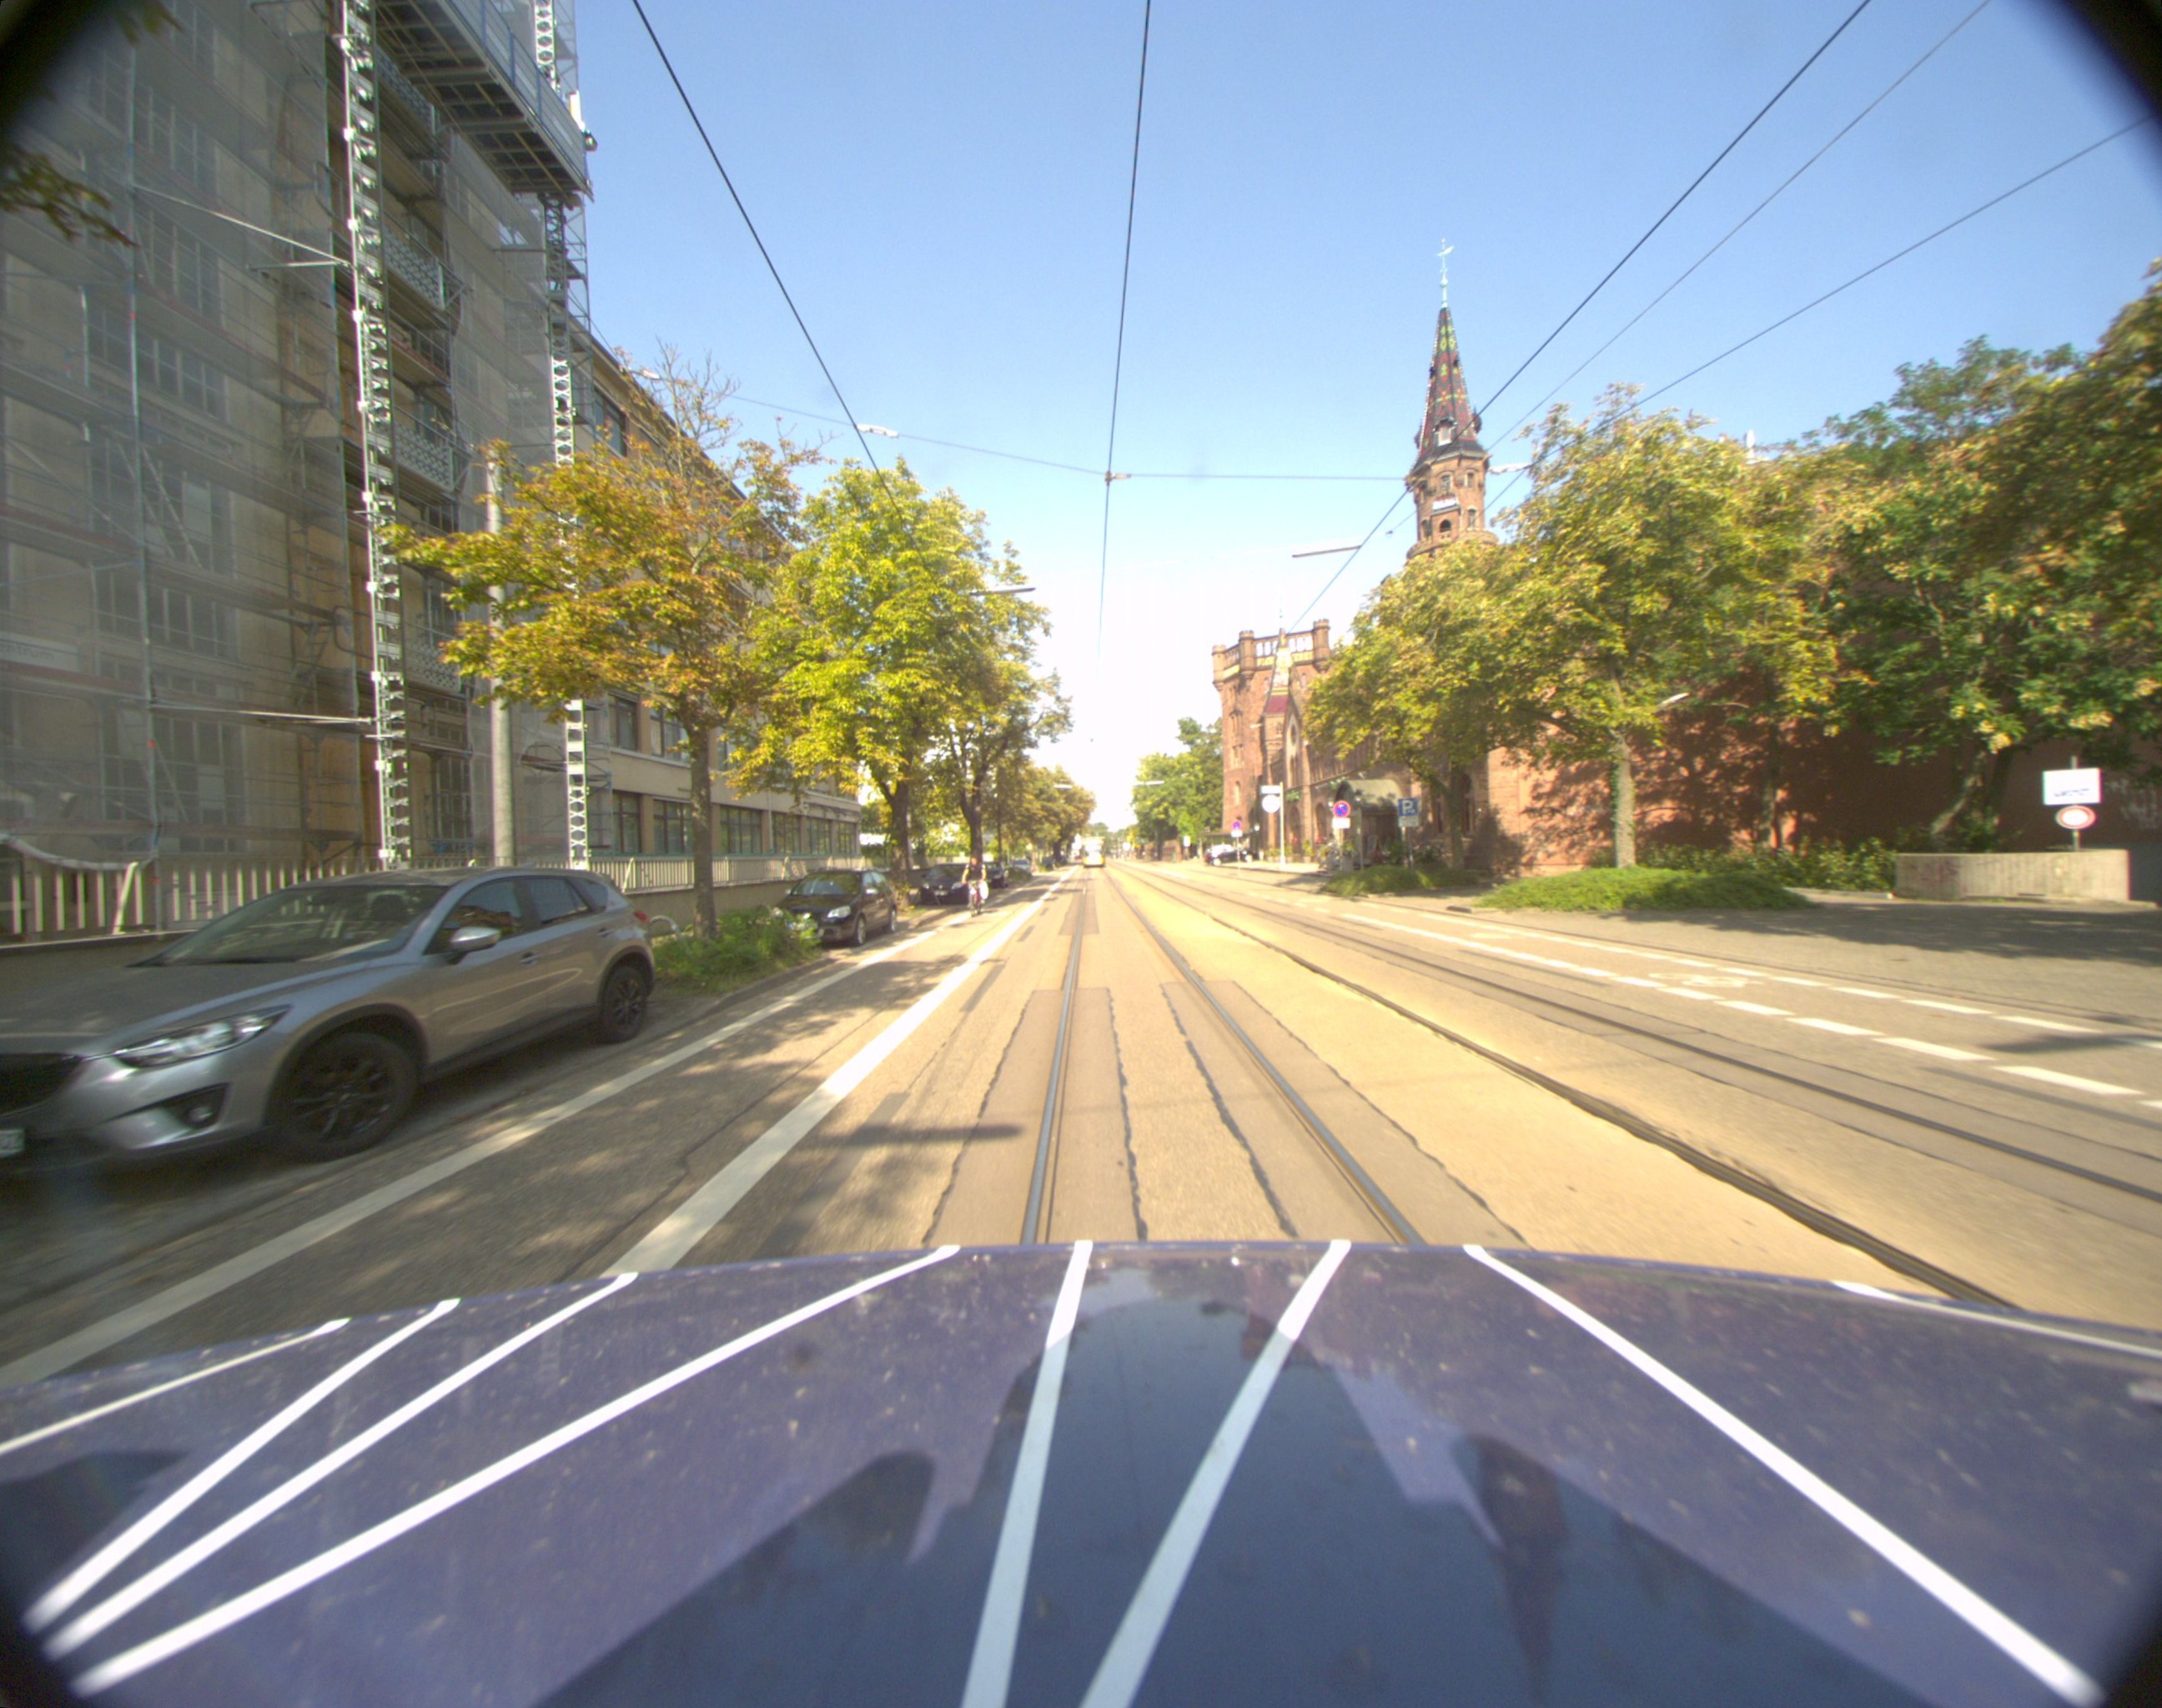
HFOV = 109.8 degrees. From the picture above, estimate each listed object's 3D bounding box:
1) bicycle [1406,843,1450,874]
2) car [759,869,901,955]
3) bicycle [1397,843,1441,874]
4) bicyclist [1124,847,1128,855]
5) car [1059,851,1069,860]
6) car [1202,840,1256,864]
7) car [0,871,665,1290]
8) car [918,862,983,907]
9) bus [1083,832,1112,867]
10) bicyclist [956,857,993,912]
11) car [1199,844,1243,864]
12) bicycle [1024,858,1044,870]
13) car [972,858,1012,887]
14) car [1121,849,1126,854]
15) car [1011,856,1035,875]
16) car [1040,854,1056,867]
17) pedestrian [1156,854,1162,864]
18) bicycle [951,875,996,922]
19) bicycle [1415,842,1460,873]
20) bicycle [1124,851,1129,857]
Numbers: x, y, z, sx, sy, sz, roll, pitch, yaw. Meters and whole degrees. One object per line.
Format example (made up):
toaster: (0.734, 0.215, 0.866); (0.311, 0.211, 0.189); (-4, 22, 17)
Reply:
bicycle: (14.085, 0.177, 30.818); (1.809, 1.068, 0.420); (-7, 2, -21)
car: (-4.989, 1.091, 15.629); (1.580, 1.476, 3.738); (0, 0, 1)
bicycle: (13.897, 0.181, 31.249); (1.809, 1.068, 0.420); (-7, 2, -21)
bicyclist: (8.490, -0.578, 142.741); (0.699, 1.571, 1.087); (-2, 2, -1)
car: (-3.191, 0.294, 141.543); (1.866, 1.643, 4.183); (0, 0, 0)
car: (13.278, -0.159, 68.312); (4.407, 1.636, 1.957); (-6, 0, 2)
car: (-5.060, 1.044, 5.419); (1.758, 1.681, 4.396); (-3, 0, -1)
car: (-4.778, 1.080, 28.274); (1.650, 1.502, 3.778); (0, 0, 1)
bus: (2.001, -0.535, 88.398); (2.900, 3.771, 9.320); (-2, 0, 3)
bicyclist: (-2.971, 0.820, 21.245); (0.789, 1.461, 1.116); (-2, 1, 3)
car: (13.625, -0.017, 74.010); (3.908, 1.586, 1.823); (-6, 0, 3)
bicycle: (-4.421, 0.957, 71.487); (1.773, 1.058, 0.796); (0, 1, -1)
car: (-4.678, 0.945, 40.531); (1.650, 1.420, 4.084); (0, 0, 0)
car: (14.562, -0.909, 259.710); (1.694, 1.433, 4.000); (-2, 0, 1)
car: (-4.472, 0.870, 59.017); (1.644, 1.421, 3.988); (-1, 1, -1)
car: (-3.894, 0.792, 89.416); (1.745, 1.477, 4.437); (0, 0, 0)
pedestrian: (11.896, 0.759, 115.907); (0.717, 1.580, 0.775); (-2, 1, 0)
bicycle: (-2.959, 1.207, 21.108); (0.789, 1.138, 2.305); (-2, 0, 3)
bicycle: (14.247, 0.131, 30.382); (1.809, 1.068, 0.420); (-7, 2, -21)
bicycle: (8.499, -0.032, 142.778); (0.699, 1.151, 2.037); (-2, 1, -1)
